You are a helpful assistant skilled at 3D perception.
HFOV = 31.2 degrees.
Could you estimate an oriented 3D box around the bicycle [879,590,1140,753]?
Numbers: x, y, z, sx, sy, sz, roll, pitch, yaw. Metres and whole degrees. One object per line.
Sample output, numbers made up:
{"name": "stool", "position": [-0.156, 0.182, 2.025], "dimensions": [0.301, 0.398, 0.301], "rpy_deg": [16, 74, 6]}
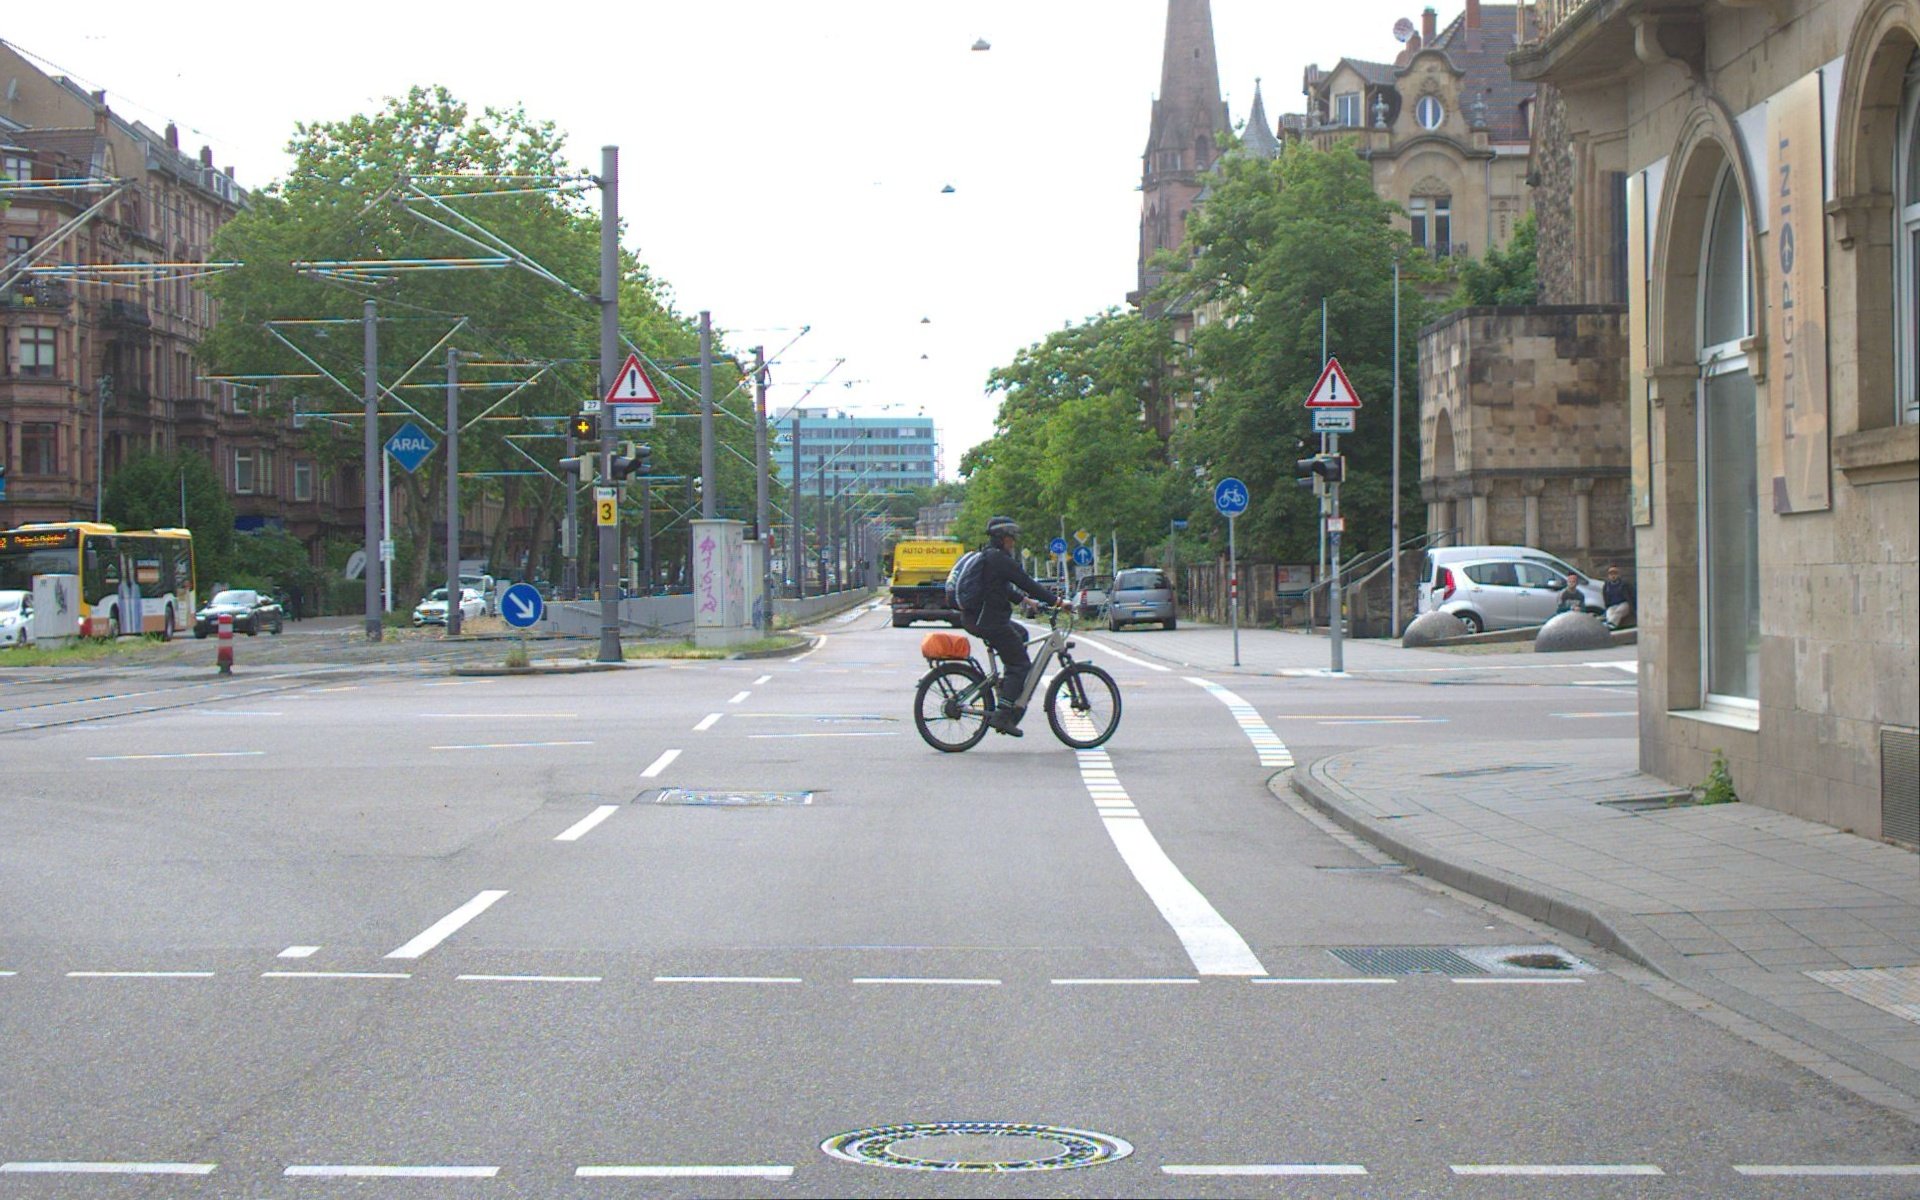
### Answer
{"name": "bicycle", "position": [0.409, 0.568, 27.804], "dimensions": [1.991, 1.268, 0.751], "rpy_deg": [1, 1, -30]}

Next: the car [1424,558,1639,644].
{"name": "car", "position": [10.761, 0.012, 64.960], "dimensions": [3.713, 1.558, 2.000], "rpy_deg": [1, 0, 0]}

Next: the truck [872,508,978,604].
{"name": "truck", "position": [-1.053, -1.332, 104.753], "dimensions": [3.055, 2.759, 9.816], "rpy_deg": [0, 1, -1]}

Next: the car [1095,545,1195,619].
{"name": "car", "position": [4.866, -0.477, 89.963], "dimensions": [1.994, 1.849, 4.024], "rpy_deg": [1, 1, 12]}

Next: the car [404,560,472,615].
{"name": "car", "position": [-19.710, -0.497, 129.969], "dimensions": [1.993, 2.007, 4.000], "rpy_deg": [1, 1, -1]}

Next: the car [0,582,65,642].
{"name": "car", "position": [-21.912, 0.258, 79.026], "dimensions": [1.656, 1.316, 3.638], "rpy_deg": [1, 1, 1]}

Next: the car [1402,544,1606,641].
{"name": "car", "position": [10.790, -0.165, 68.383], "dimensions": [3.713, 1.849, 2.000], "rpy_deg": [1, 0, 0]}

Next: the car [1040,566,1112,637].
{"name": "car", "position": [3.343, 0.027, 99.634], "dimensions": [1.993, 2.007, 4.000], "rpy_deg": [1, 1, 1]}

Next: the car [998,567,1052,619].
{"name": "car", "position": [2.540, -0.282, 135.968], "dimensions": [1.993, 2.007, 4.000], "rpy_deg": [1, 1, -1]}

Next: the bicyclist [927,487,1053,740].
{"name": "bicyclist", "position": [0.240, 0.103, 27.712], "dimensions": [0.692, 2.007, 0.783], "rpy_deg": [1, 0, -29]}

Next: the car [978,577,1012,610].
{"name": "car", "position": [2.202, -0.412, 216.815], "dimensions": [1.993, 2.007, 4.000], "rpy_deg": [1, 1, -1]}

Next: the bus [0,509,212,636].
{"name": "bus", "position": [-22.479, -0.732, 89.075], "dimensions": [3.231, 3.025, 12.311], "rpy_deg": [1, 1, 1]}

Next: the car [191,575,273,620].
{"name": "car", "position": [-22.121, -0.087, 104.597], "dimensions": [1.656, 1.316, 3.638], "rpy_deg": [1, 1, 1]}
